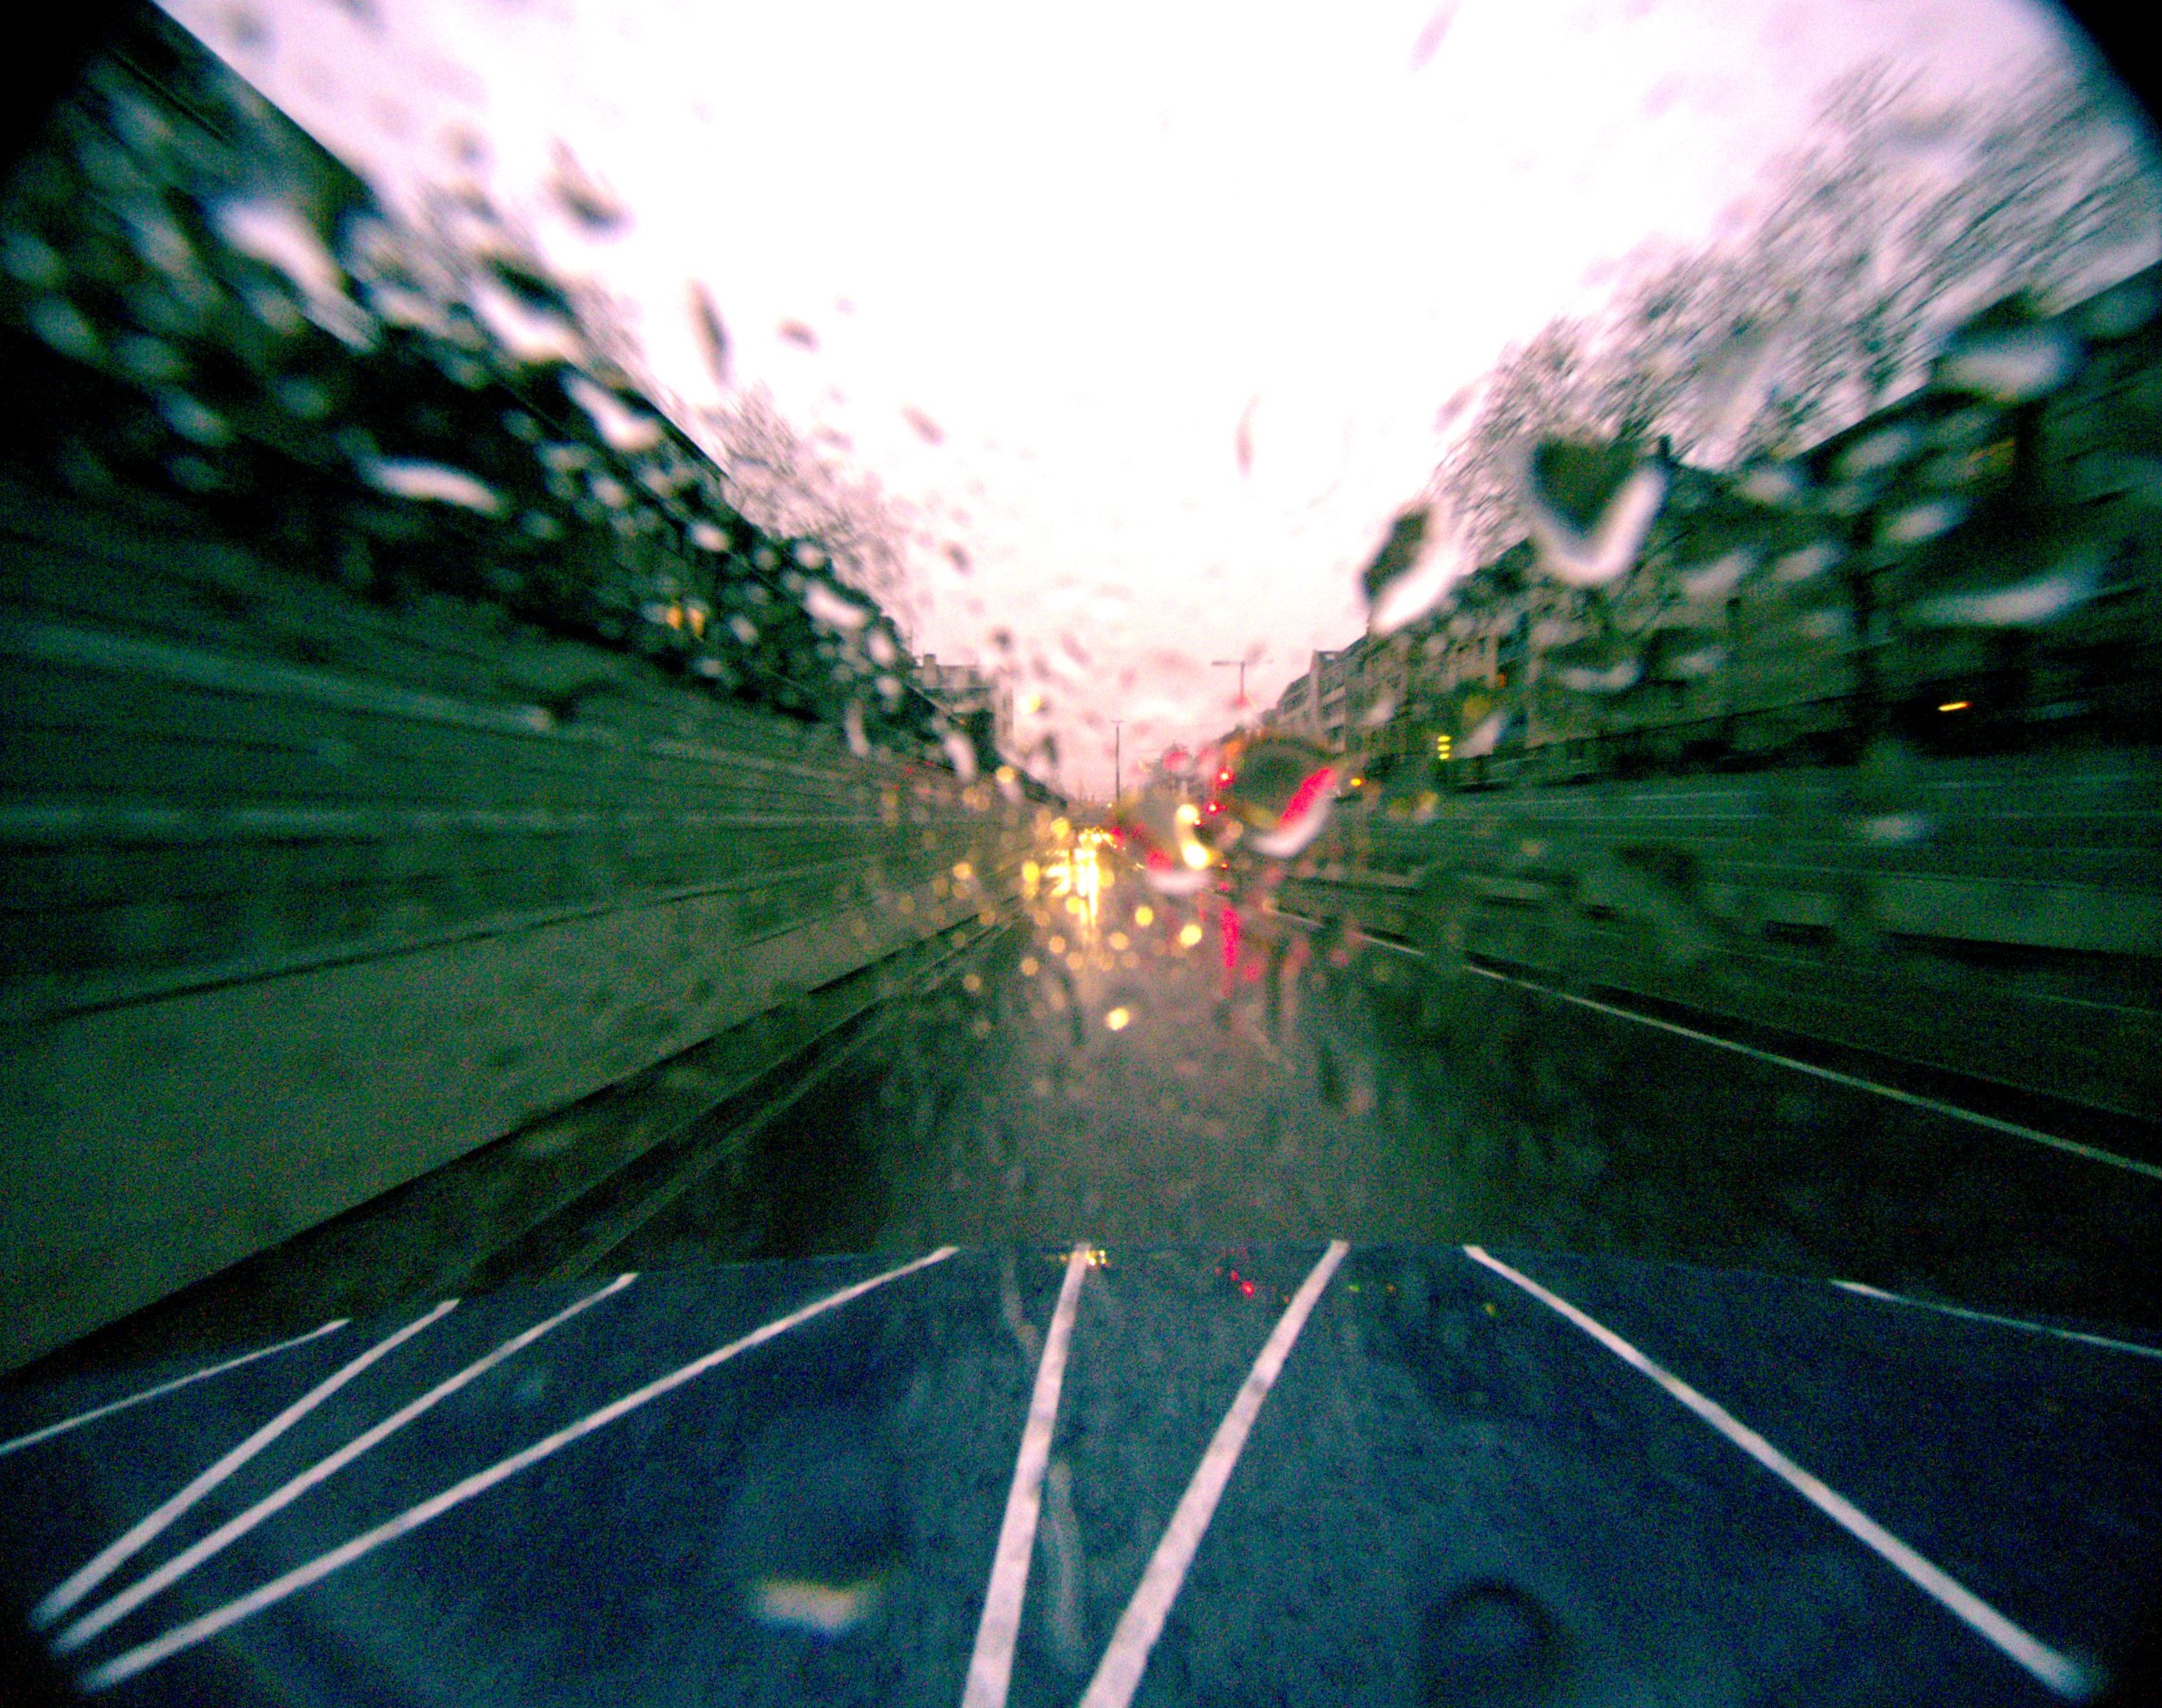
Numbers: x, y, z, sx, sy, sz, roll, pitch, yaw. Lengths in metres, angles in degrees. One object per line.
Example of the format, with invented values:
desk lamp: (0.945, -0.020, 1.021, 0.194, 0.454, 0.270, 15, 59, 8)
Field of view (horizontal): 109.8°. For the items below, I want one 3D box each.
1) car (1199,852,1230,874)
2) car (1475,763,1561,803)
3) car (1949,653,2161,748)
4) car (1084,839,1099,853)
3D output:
car: (9.357, 0.608, 53.470, 1.575, 1.462, 3.687, 0, 0, 1)
car: (17.771, -2.850, 31.080, 1.569, 1.389, 3.404, 1, 2, 1)
car: (22.274, -3.309, 16.848, 1.569, 1.464, 3.877, 1, 2, 1)
car: (1.491, -1.196, 112.982, 2.031, 2.018, 4.422, -2, 2, -1)
